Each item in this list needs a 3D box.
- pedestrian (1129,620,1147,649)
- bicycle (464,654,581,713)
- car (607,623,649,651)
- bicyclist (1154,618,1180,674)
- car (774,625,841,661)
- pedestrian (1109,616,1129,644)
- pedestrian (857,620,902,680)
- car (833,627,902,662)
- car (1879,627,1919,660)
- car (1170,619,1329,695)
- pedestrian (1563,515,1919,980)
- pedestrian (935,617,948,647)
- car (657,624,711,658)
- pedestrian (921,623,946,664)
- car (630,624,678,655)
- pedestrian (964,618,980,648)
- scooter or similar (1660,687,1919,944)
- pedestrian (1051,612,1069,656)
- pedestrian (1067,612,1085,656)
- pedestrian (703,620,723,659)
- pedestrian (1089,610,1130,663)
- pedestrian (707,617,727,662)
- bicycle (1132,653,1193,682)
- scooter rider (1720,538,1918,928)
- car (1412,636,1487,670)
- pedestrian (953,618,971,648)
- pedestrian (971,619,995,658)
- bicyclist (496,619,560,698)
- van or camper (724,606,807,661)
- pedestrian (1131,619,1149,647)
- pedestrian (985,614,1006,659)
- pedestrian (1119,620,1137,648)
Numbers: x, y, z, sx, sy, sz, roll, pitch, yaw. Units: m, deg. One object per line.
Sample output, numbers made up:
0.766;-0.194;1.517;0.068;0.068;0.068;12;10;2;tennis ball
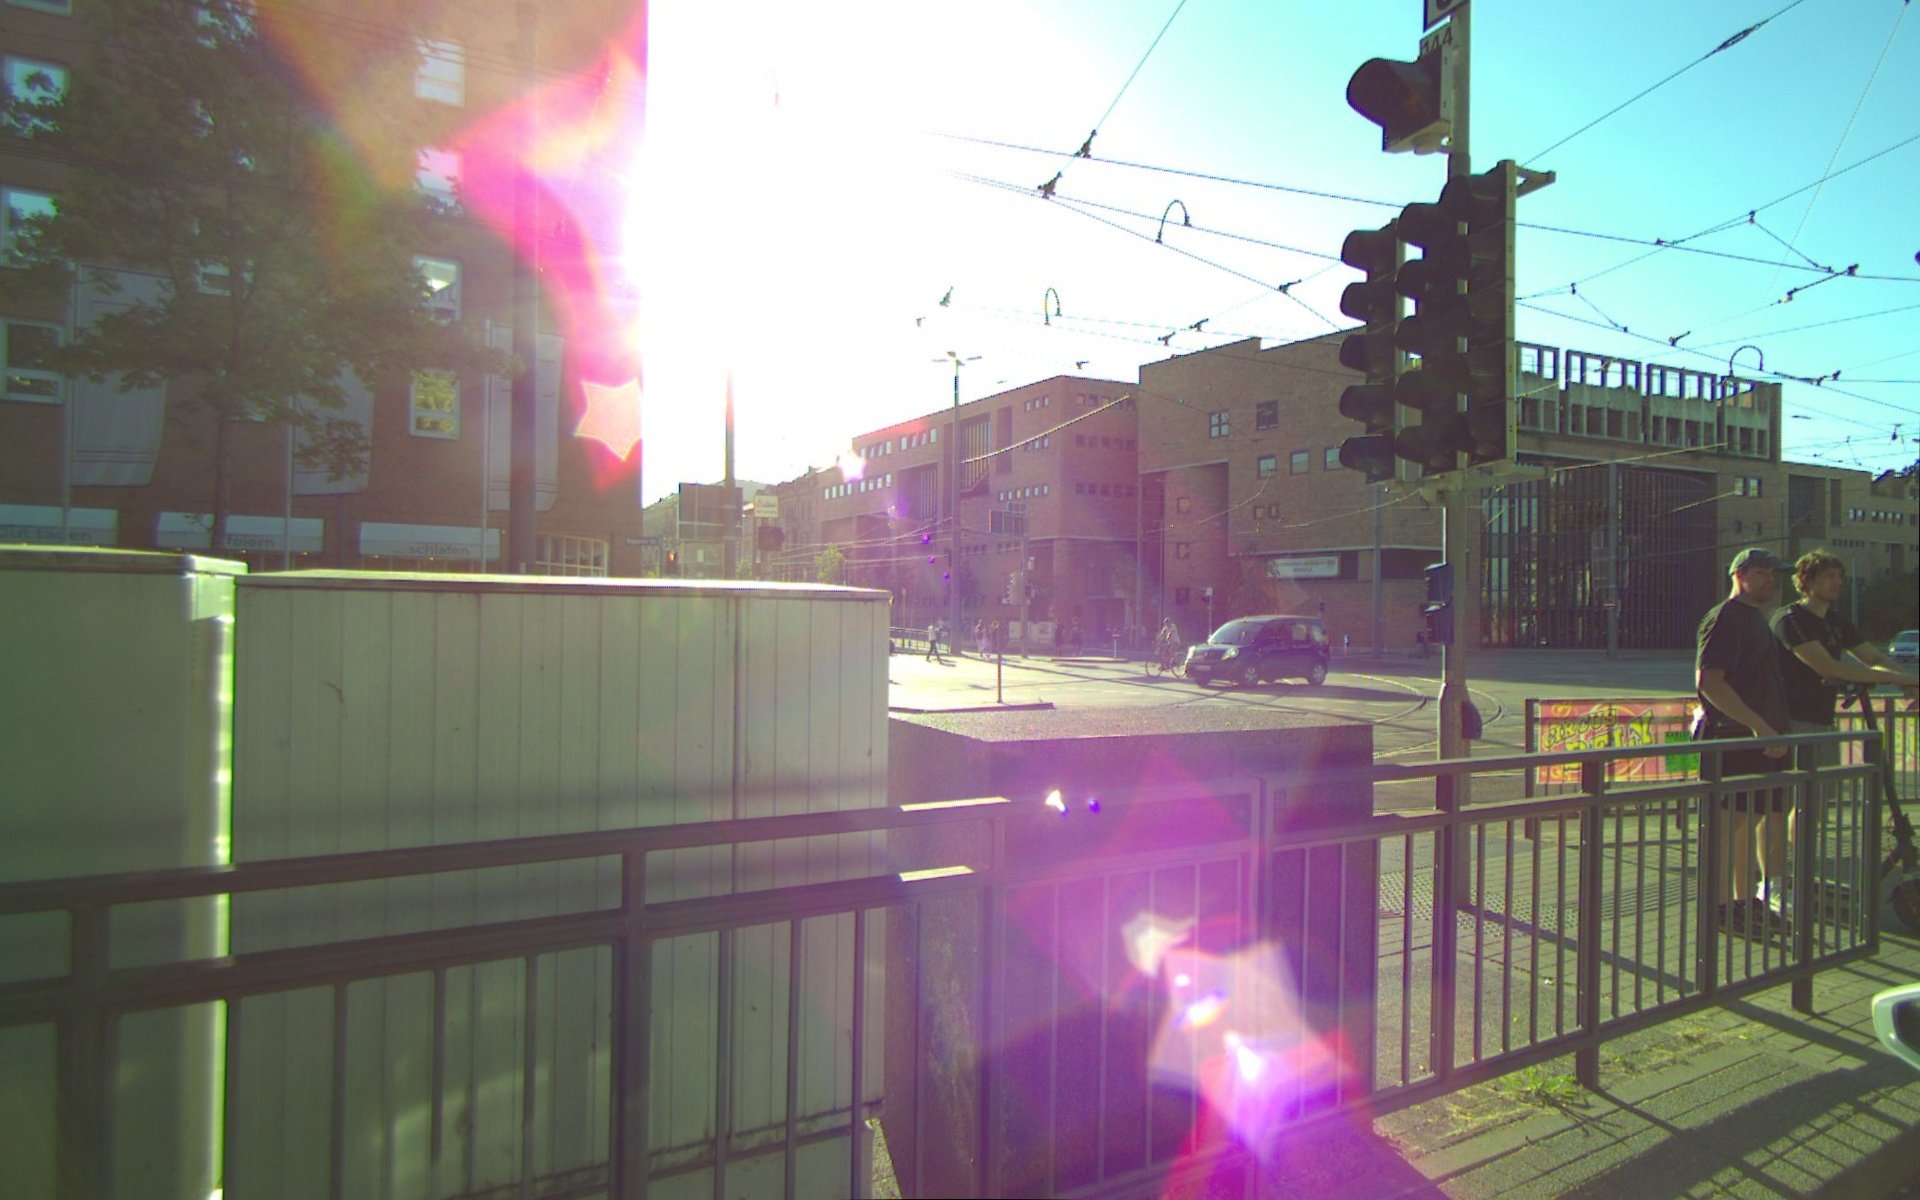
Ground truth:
13.063;2.532;73.648;0.841;2.079;1.001;1;-1;-32;pedestrian
-8.515;1.603;19.605;1.993;1.064;0.647;2;-1;-35;bicycle
-21.628;2.364;65.361;1.738;1.750;3.965;1;-2;-32;car
6.167;1.367;29.891;0.509;1.647;0.583;1;-1;-34;bicyclist
-7.805;2.150;51.182;1.978;1.709;3.965;1;-2;-33;car
11.698;2.170;73.801;0.902;2.040;1.151;1;-1;-34;pedestrian
-2.562;1.569;31.932;0.943;1.822;0.988;2;0;41;pedestrian
-4.815;2.244;51.806;1.978;1.709;3.965;1;-2;-33;car
48.913;2.218;51.714;3.962;1.598;1.610;1;-2;-36;car
7.521;1.425;25.988;3.959;1.786;1.856;1;0;-35;car
3.746;0.625;4.849;0.843;1.908;1.164;1;-1;-25;pedestrian
-1.283;2.234;69.691;0.644;2.040;0.780;1;-1;-32;pedestrian
-15.136;2.220;54.925;1.739;1.750;3.963;1;-2;-33;car
-1.144;1.865;43.332;0.857;1.775;0.672;1;-1;-30;pedestrian
-18.281;2.329;59.938;1.738;1.750;3.965;1;-2;-32;car
0.802;2.216;67.992;0.742;2.010;0.780;1;-1;-32;pedestrian
4.468;1.045;5.230;0.639;1.095;1.199;1;-1;-25;scooter or similar
4.717;1.615;47.498;0.603;2.040;0.731;0;-1;30;pedestrian
5.424;1.583;47.037;0.603;2.040;0.731;0;-1;30;pedestrian
-11.733;1.869;47.746;0.597;1.843;0.848;1;-1;-38;pedestrian
5.960;1.444;40.019;1.193;2.040;1.028;2;0;-30;pedestrian
-11.117;1.794;45.892;0.597;2.040;0.848;1;-1;-38;pedestrian
6.017;1.994;29.780;1.948;0.781;0.586;1;-2;-35;bicycle
4.482;0.659;5.250;0.670;1.877;0.564;3;-2;-25;scooter rider
30.084;3.239;61.756;4.134;2.040;1.989;1;-2;-24;car
0.111;2.193;67.508;0.917;2.010;0.780;1;-1;-32;pedestrian
1.066;1.797;46.730;0.860;1.775;0.670;1;-2;-39;pedestrian
-8.451;1.128;19.643;1.022;1.494;0.649;2;-1;-35;bicyclist
-9.347;1.574;47.943;1.981;2.451;4.980;1;-2;-36;van or camper
13.507;2.492;75.313;0.841;2.079;1.001;1;-1;-32;pedestrian
1.623;1.645;45.694;0.727;2.040;0.606;1;-1;-41;pedestrian
12.492;2.533;74.715;0.841;2.079;1.001;1;-1;-32;pedestrian
